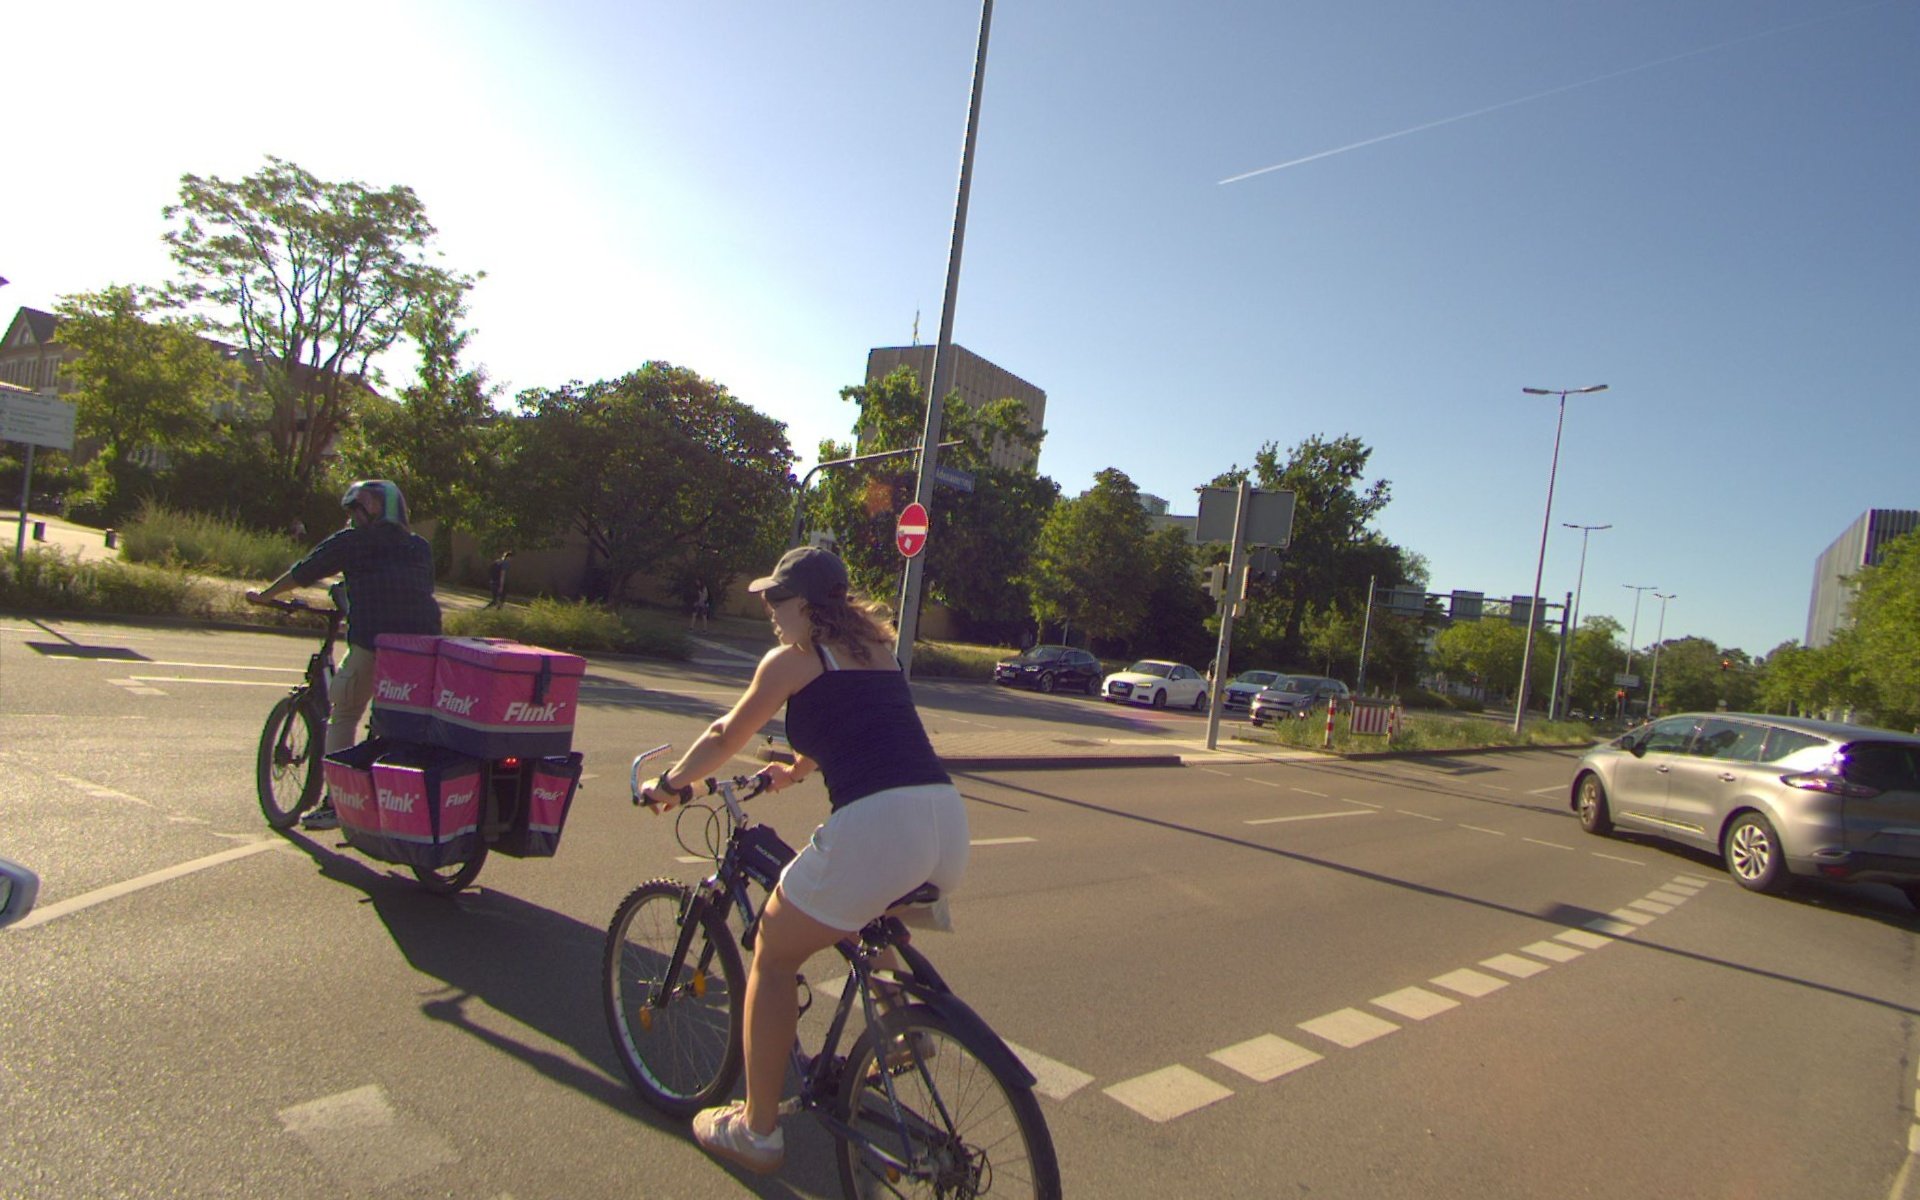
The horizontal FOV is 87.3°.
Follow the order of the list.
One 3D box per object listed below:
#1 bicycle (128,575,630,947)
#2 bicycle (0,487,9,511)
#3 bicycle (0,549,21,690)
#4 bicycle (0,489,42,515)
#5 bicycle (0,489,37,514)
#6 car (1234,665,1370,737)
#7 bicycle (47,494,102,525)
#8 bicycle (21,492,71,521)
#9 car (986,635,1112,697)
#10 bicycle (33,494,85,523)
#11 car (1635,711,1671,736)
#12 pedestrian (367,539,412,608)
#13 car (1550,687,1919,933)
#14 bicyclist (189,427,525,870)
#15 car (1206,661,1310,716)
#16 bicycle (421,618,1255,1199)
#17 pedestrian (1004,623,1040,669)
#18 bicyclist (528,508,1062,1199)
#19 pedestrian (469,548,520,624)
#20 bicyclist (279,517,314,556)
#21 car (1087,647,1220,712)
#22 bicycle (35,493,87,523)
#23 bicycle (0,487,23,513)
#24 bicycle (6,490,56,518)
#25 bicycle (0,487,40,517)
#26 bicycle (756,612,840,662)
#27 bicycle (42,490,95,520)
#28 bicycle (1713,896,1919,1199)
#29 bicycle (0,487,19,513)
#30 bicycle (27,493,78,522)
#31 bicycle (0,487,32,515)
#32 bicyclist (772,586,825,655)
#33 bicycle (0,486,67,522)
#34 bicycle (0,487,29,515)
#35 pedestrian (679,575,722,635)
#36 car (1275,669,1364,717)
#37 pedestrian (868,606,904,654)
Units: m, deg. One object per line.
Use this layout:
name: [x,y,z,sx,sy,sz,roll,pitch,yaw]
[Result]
bicycle: [-2.839,0.629,4.795,2.536,1.170,0.779,8,0,29]
bicycle: [-61.321,-6.550,62.657,0.672,1.396,2.873,7,-3,39]
bicycle: [-9.174,0.011,8.496,2.248,1.170,0.781,8,0,19]
bicycle: [-51.985,-5.408,55.501,0.493,1.120,1.795,7,-3,39]
bicycle: [-53.395,-5.571,56.778,0.493,1.120,1.795,7,-3,39]
car: [9.272,2.748,27.115,1.899,1.537,3.999,7,-1,42]
bicycle: [-42.290,-4.314,48.074,0.493,1.120,1.795,7,-3,39]
bicycle: [-47.880,-4.890,52.711,0.493,1.120,1.795,7,-3,39]
car: [2.854,2.104,31.695,1.779,1.537,3.981,7,-1,42]
bicycle: [-45.599,-4.635,50.909,0.493,1.120,1.795,7,-3,39]
car: [53.295,9.470,77.325,1.969,1.615,3.988,7,-1,37]
pedestrian: [-14.234,-0.662,25.094,0.613,1.594,0.637,8,1,39]
car: [8.556,2.042,10.729,1.962,1.704,4.632,8,-1,6]
bicyclist: [-2.897,0.193,4.855,1.074,1.856,0.779,8,0,29]
car: [10.630,3.157,35.730,1.899,1.537,3.999,7,-1,42]
bicycle: [-0.376,0.787,2.478,1.838,1.134,0.719,10,-1,32]
pedestrian: [2.621,1.961,42.617,1.002,1.771,0.848,8,1,34]
bicyclist: [-0.382,0.642,2.497,0.835,1.566,0.717,8,-2,32]
pedestrian: [-11.435,-0.341,24.724,0.702,1.734,0.731,8,1,39]
bicyclist: [-27.622,-2.645,41.875,0.613,1.450,0.915,7,-2,38]
car: [5.892,2.420,30.239,1.779,1.537,4.411,7,-1,42]
bicycle: [-45.009,-4.593,50.373,0.493,1.120,1.795,7,-3,39]
bicycle: [-58.438,-6.194,60.523,0.672,1.396,2.873,7,-3,39]
bicycle: [-49.881,-5.144,54.030,0.493,1.120,1.795,7,-3,39]
bicycle: [-54.871,-5.760,57.731,0.672,1.396,2.873,7,-3,39]
bicycle: [-4.745,1.097,29.530,2.276,1.170,0.771,8,0,-42]
bicycle: [-43.703,-4.647,49.320,0.493,1.120,1.795,7,-3,39]
bicycle: [2.211,1.243,1.225,2.034,1.134,0.718,7,-1,35]
bicycle: [-59.652,-6.339,61.516,0.672,1.396,2.873,7,-3,39]
bicycle: [-46.745,-4.751,51.837,0.493,1.120,1.795,7,-3,39]
bicycle: [-56.466,-5.956,58.936,0.672,1.396,2.873,7,-3,39]
bicyclist: [-4.732,0.615,29.483,1.085,1.853,0.771,7,0,-41]
bicycle: [-50.447,-5.210,54.532,0.672,1.396,2.873,7,-3,39]
bicycle: [-57.140,-6.038,59.458,0.672,1.396,2.873,7,-3,39]
pedestrian: [-8.081,0.153,31.343,0.665,1.725,0.875,8,0,34]
car: [14.682,3.807,41.026,1.899,1.537,3.999,7,-1,42]
pedestrian: [-2.647,1.077,36.112,0.750,1.562,0.845,8,1,34]
